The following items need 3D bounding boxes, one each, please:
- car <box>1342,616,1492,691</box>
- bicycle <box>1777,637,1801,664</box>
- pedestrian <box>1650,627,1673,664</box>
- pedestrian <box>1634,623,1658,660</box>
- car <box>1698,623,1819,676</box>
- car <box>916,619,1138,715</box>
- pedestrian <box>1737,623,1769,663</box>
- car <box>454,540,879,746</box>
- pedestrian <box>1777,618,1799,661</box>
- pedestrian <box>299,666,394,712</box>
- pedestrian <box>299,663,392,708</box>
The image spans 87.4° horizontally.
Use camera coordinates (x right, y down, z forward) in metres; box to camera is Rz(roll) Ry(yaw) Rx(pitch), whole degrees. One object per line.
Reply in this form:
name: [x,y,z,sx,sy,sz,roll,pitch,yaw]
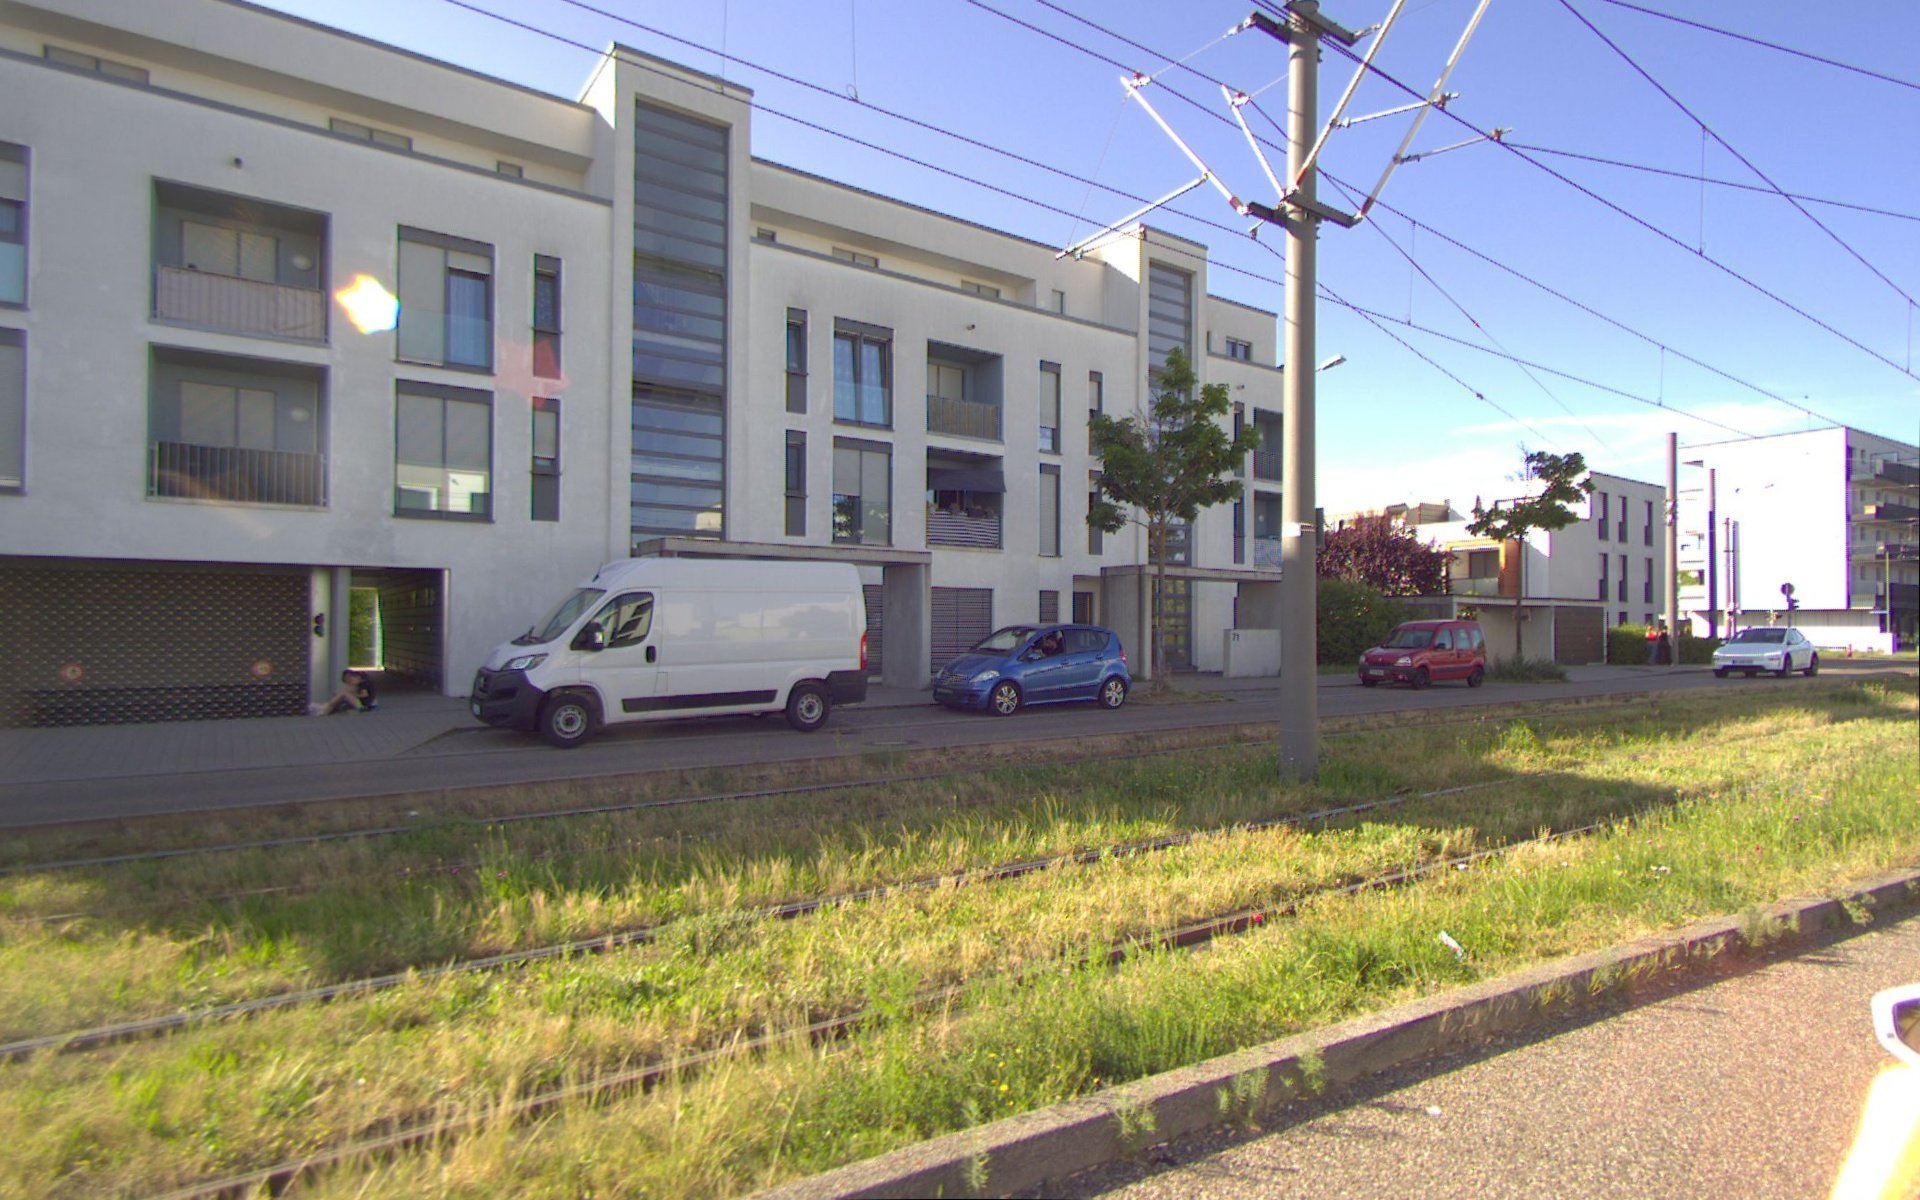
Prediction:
car: [12.095,1.353,26.540,3.797,1.820,1.869,1,0,-34]
bicycle: [40.178,2.429,48.666,0.785,1.238,2.688,1,0,41]
pedestrian: [28.694,1.837,41.092,0.605,1.483,0.554,1,0,-32]
pedestrian: [28.392,1.723,41.568,0.734,1.483,0.554,1,0,-32]
car: [26.359,1.609,33.126,4.603,1.617,1.980,1,-3,-37]
car: [1.283,1.164,18.593,3.803,1.557,1.812,1,0,-35]
pedestrian: [36.380,1.968,46.080,0.898,1.771,0.812,1,0,-28]
car: [-4.099,0.550,14.568,5.534,2.477,2.126,1,0,-36]
pedestrian: [39.647,1.875,48.094,0.752,2.040,0.666,1,0,43]
pedestrian: [-9.797,1.411,16.065,1.271,0.661,0.362,1,0,-33]
pedestrian: [-9.996,1.388,16.374,1.271,0.661,0.362,1,0,-33]
